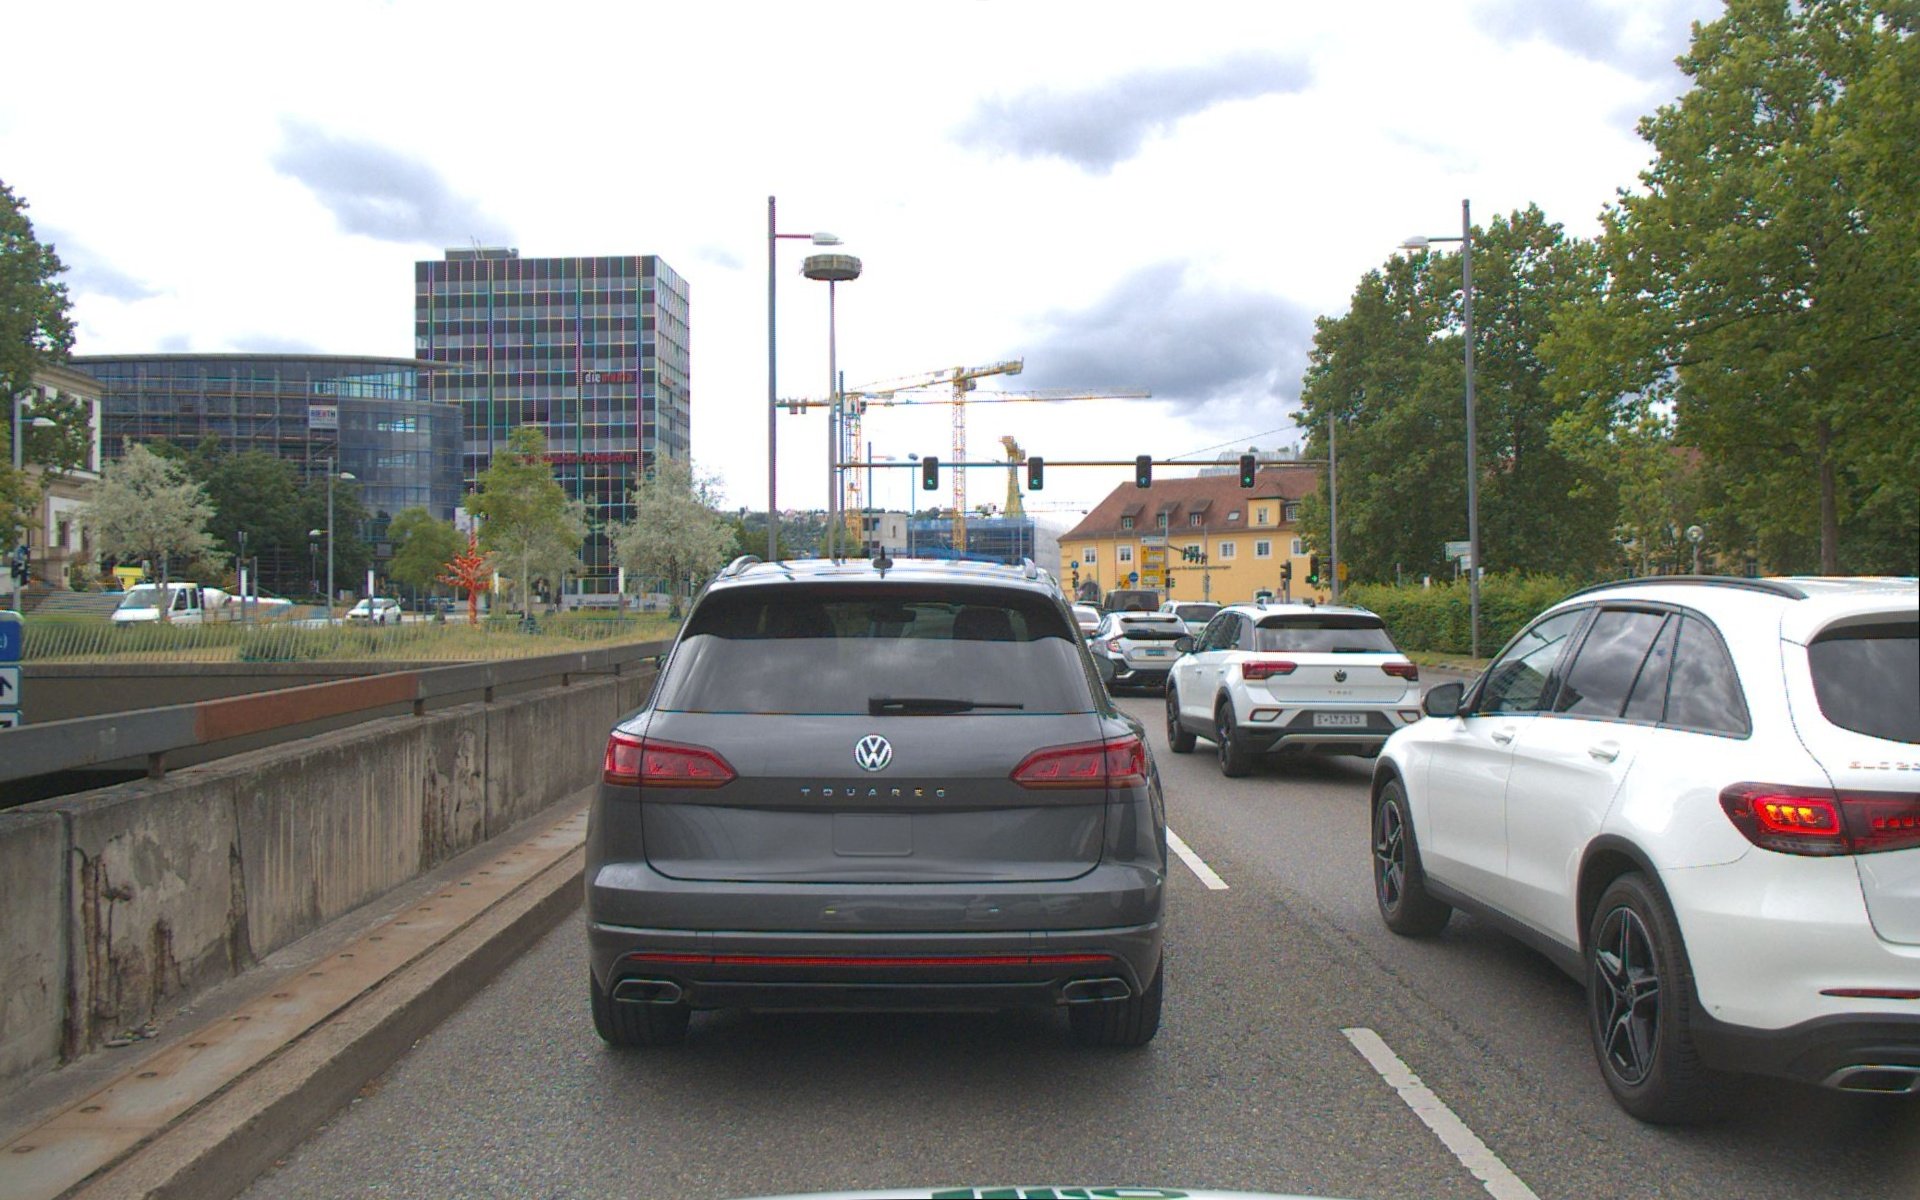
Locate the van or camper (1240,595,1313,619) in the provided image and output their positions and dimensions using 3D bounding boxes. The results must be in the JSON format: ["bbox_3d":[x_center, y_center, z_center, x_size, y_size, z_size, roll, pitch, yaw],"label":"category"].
[{"bbox_3d":[27.282,0.621,142.679,5.902,2.049,2.012,0,-1,35],"label":"van or camper"}]

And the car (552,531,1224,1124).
[{"bbox_3d":[-0.229,0.637,6.692,1.893,1.676,3.999,0,0,-1],"label":"car"}]

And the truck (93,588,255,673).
[{"bbox_3d":[-28.122,1.007,59.546,2.413,2.865,7.079,0,1,0],"label":"truck"}]

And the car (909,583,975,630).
[{"bbox_3d":[-0.584,0.201,57.244,2.198,1.529,4.611,0,0,0],"label":"car"}]

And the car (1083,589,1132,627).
[{"bbox_3d":[6.110,0.310,68.832,1.683,1.529,3.981,0,0,0],"label":"car"}]

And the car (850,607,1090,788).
[{"bbox_3d":[0.052,0.805,15.491,1.953,1.411,3.999,0,1,-1],"label":"car"}]

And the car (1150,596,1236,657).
[{"bbox_3d":[6.171,0.674,44.186,1.766,1.529,3.981,0,0,0],"label":"car"}]

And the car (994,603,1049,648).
[{"bbox_3d":[2.432,0.994,65.791,2.095,1.758,4.071,0,0,2],"label":"car"}]

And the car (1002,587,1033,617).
[{"bbox_3d":[3.999,0.124,115.355,1.953,2.049,3.999,0,0,-1],"label":"car"}]

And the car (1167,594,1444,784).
[{"bbox_3d":[3.202,0.757,16.081,1.855,1.613,3.800,0,0,-1],"label":"car"}]

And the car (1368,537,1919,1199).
[{"bbox_3d":[2.961,0.678,6.239,1.781,1.676,4.379,0,0,0],"label":"car"}]

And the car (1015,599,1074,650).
[{"bbox_3d":[2.686,0.765,53.420,1.683,1.529,3.981,0,0,0],"label":"car"}]

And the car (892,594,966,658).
[{"bbox_3d":[-0.773,0.630,41.879,1.777,1.522,3.905,0,0,-1],"label":"car"}]

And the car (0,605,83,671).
[{"bbox_3d":[-28.424,1.094,49.644,1.953,1.847,4.257,0,1,-1],"label":"car"}]

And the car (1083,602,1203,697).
[{"bbox_3d":[3.183,0.815,29.447,1.683,1.529,4.144,0,0,0],"label":"car"}]

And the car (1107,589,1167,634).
[{"bbox_3d":[6.180,0.384,58.133,1.683,1.529,3.981,0,0,0],"label":"car"}]

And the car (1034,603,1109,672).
[{"bbox_3d":[2.645,0.866,39.937,1.683,1.529,3.982,0,0,2],"label":"car"}]

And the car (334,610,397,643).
[{"bbox_3d":[-31.819,1.407,88.656,1.683,1.602,4.613,0,1,0],"label":"car"}]

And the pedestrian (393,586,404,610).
[{"bbox_3d":[-39.412,-0.143,116.120,0.513,1.678,0.650,1,-1,-2],"label":"pedestrian"}]
